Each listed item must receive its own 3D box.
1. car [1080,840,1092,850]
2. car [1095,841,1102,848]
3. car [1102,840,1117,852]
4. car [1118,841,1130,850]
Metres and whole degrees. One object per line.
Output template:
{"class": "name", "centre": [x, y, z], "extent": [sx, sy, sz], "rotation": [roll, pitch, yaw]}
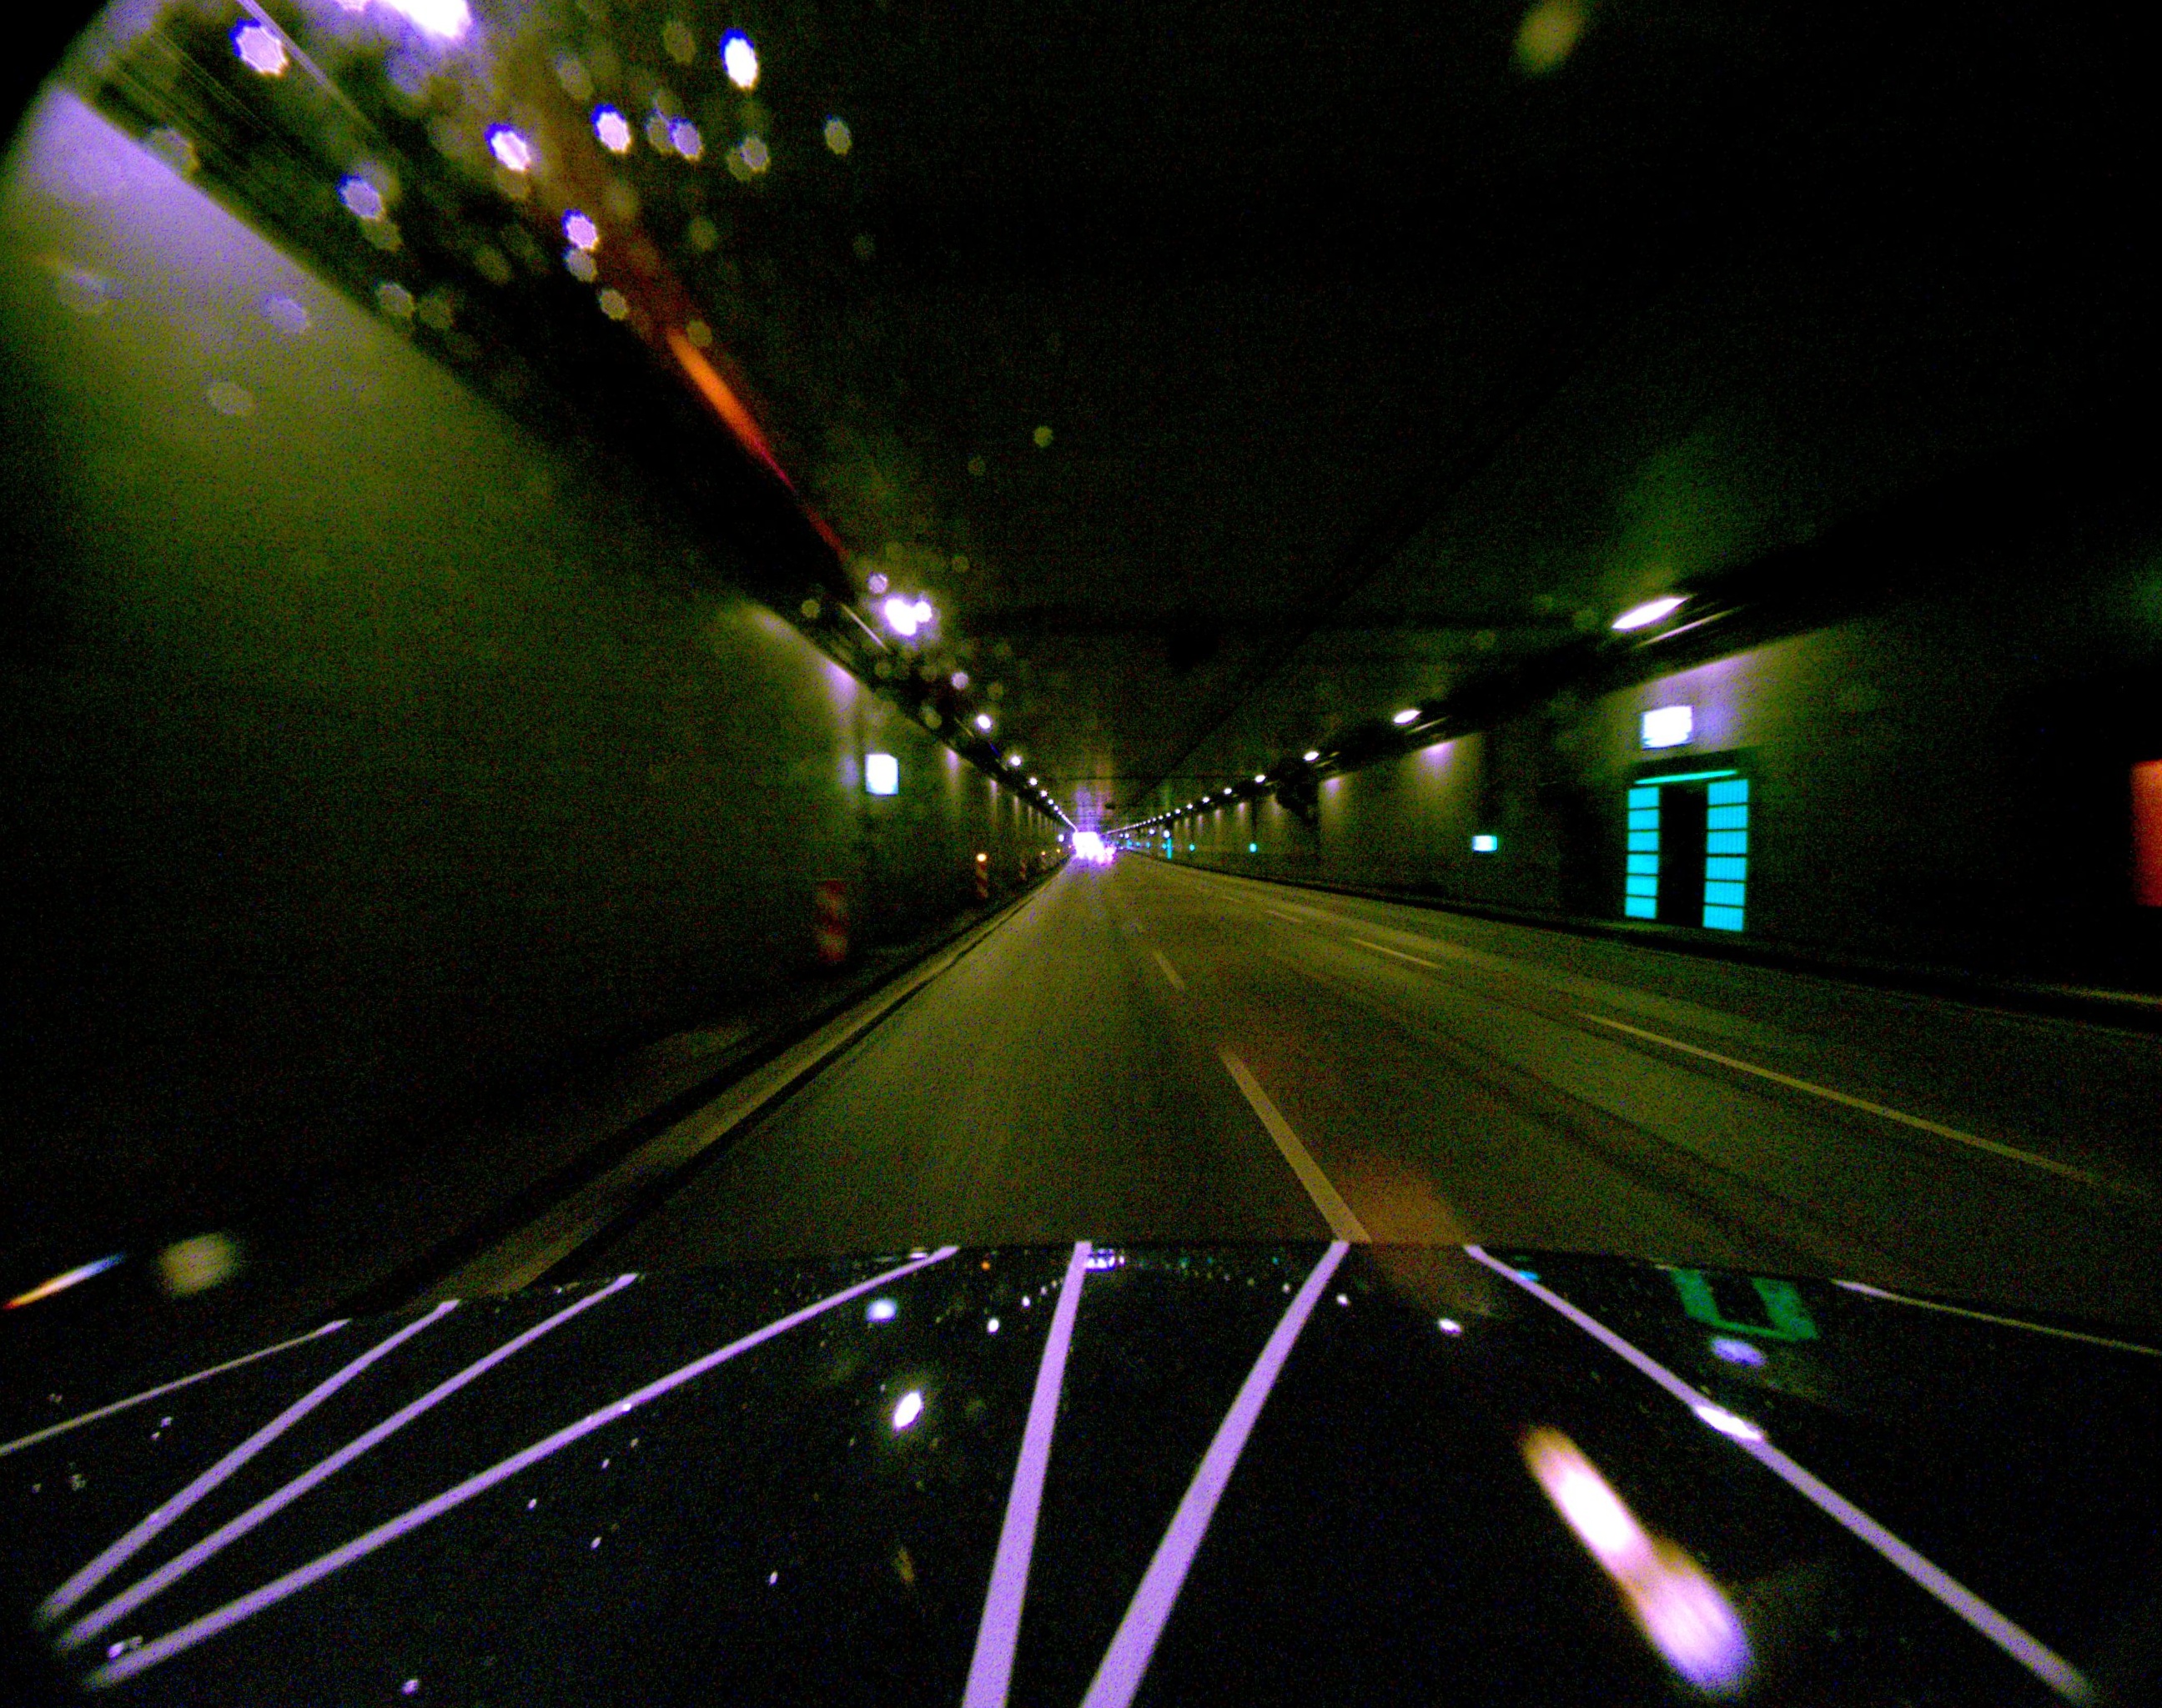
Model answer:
{"class": "car", "centre": [0.975, -1.680, 138.702], "extent": [1.998, 1.686, 3.999], "rotation": [-3, 2, 1]}
{"class": "car", "centre": [4.999, -2.662, 214.364], "extent": [1.998, 1.756, 3.999], "rotation": [-3, 2, 1]}
{"class": "car", "centre": [4.443, -1.249, 118.993], "extent": [1.998, 1.686, 4.000], "rotation": [-6, 0, 0]}
{"class": "car", "centre": [8.010, -1.627, 143.056], "extent": [1.998, 1.686, 4.000], "rotation": [-2, 0, 1]}
